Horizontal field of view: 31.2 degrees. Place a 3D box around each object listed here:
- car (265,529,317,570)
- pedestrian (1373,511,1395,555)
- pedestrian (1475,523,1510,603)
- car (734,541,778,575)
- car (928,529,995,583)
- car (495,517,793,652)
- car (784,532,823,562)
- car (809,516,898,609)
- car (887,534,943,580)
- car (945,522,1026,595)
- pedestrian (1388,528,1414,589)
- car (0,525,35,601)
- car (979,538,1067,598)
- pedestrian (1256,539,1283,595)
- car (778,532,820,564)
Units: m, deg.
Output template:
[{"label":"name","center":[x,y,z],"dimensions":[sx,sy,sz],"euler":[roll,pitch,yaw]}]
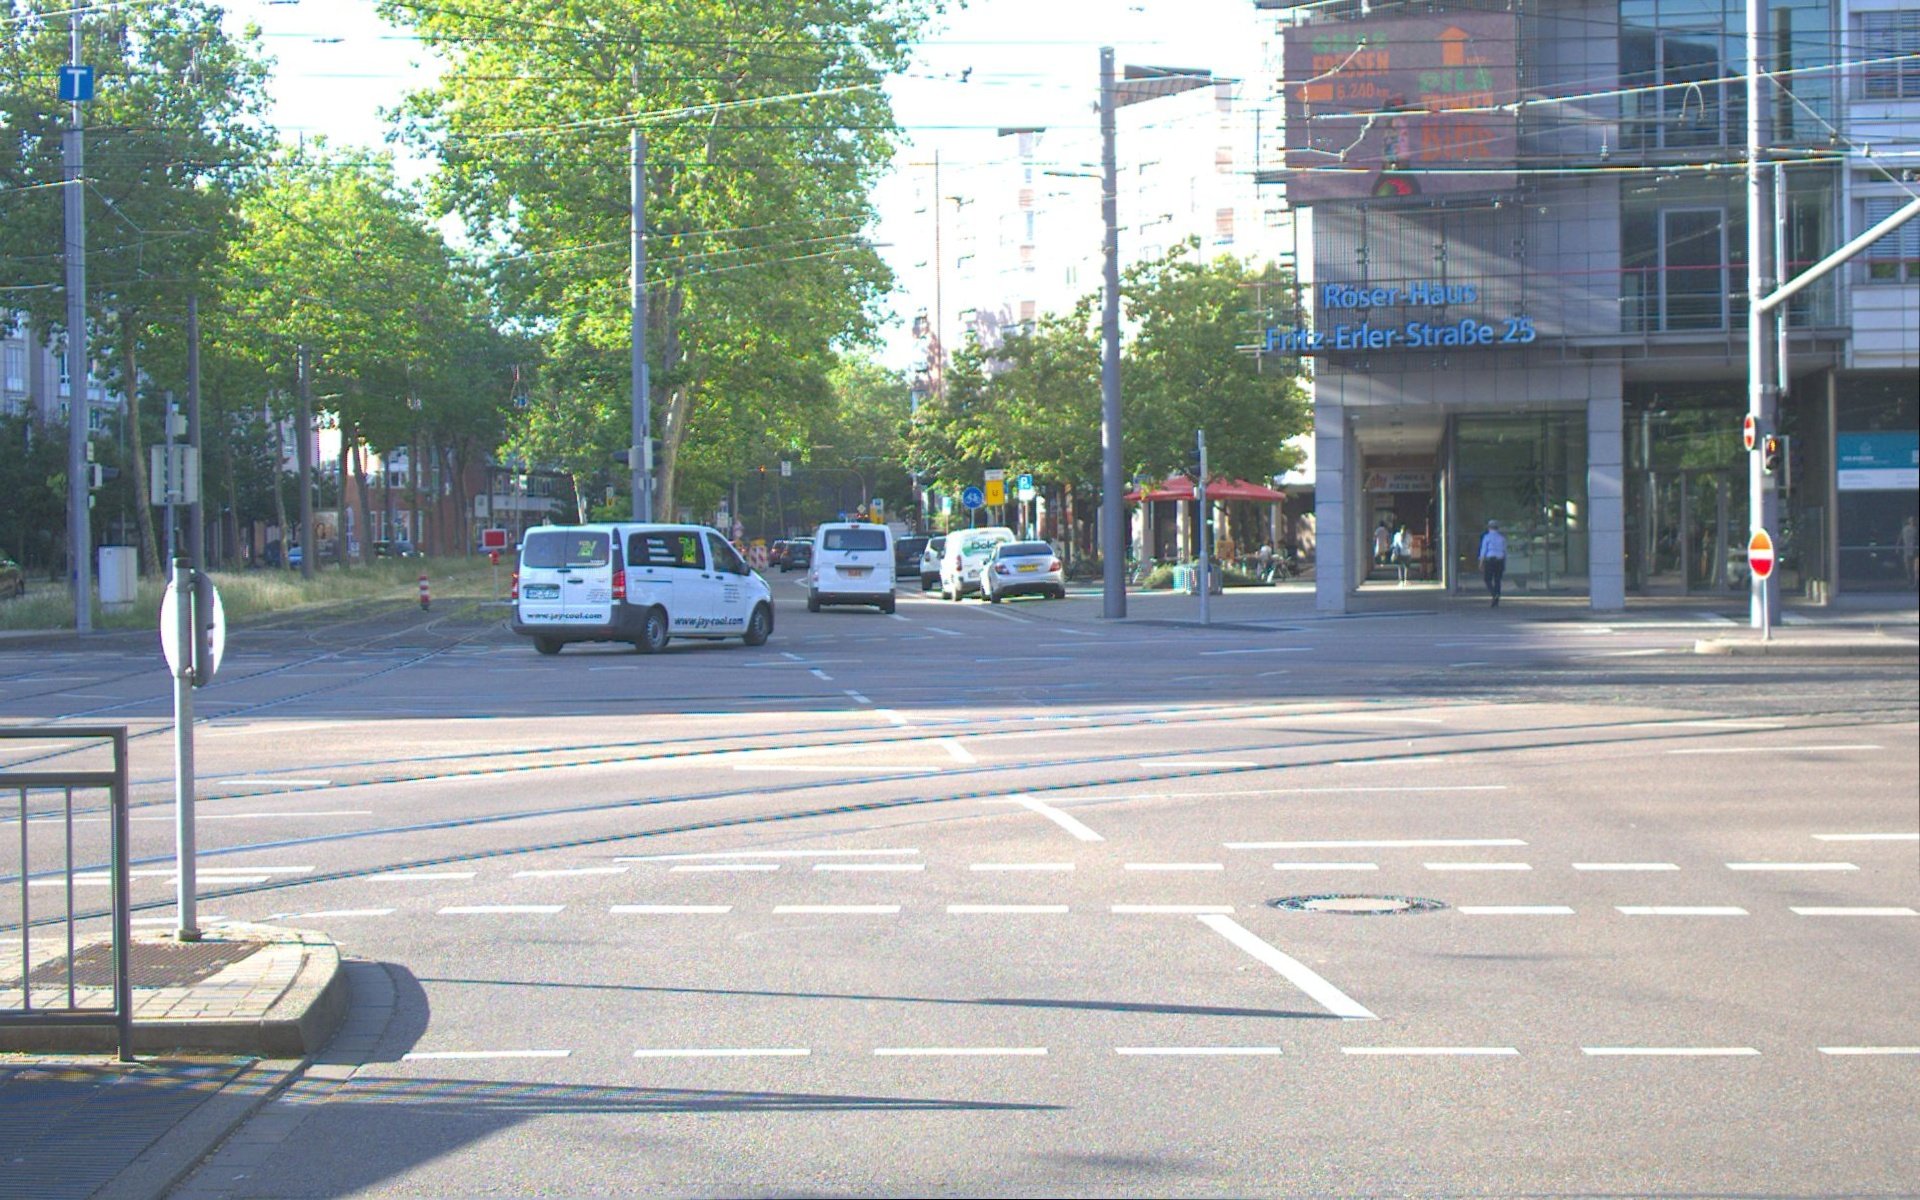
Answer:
[{"label":"car","center":[-33.370,-2.534,171.517],"dimensions":[1.993,2.007,4.001],"euler":[-1,1,-3]},{"label":"pedestrian","center":[16.452,-2.606,133.332],"dimensions":[0.744,1.708,0.612],"euler":[-1,1,-1]},{"label":"pedestrian","center":[10.084,-0.711,65.114],"dimensions":[0.612,1.502,0.579],"euler":[-1,1,6]},{"label":"car","center":[-8.723,-1.793,147.204],"dimensions":[1.797,1.437,4.000],"euler":[1,1,-2]},{"label":"car","center":[0.033,-1.360,105.213],"dimensions":[1.993,1.612,4.000],"euler":[-1,1,0]},{"label":"car","center":[-4.511,-0.269,50.073],"dimensions":[1.963,1.842,5.324],"euler":[0,1,24]},{"label":"car","center":[-7.773,-2.659,171.414],"dimensions":[1.797,1.437,4.000],"euler":[-1,1,-1]},{"label":"car","center":[-2.198,-0.797,71.517],"dimensions":[1.755,1.860,4.526],"euler":[-1,1,-1]},{"label":"car","center":[-1.645,-1.600,126.664],"dimensions":[1.993,1.612,4.000],"euler":[-1,1,0]},{"label":"car","center":[0.646,-1.096,89.568],"dimensions":[1.993,1.853,4.000],"euler":[-1,1,-1]},{"label":"pedestrian","center":[10.923,-1.034,85.219],"dimensions":[0.612,1.502,0.579],"euler":[-1,1,7]},{"label":"car","center":[-21.668,-0.798,74.921],"dimensions":[1.993,1.634,4.000],"euler":[-1,1,-1]},{"label":"car","center":[1.490,-0.786,82.773],"dimensions":[1.993,1.371,4.000],"euler":[-1,1,-1]},{"label":"pedestrian","center":[9.457,-1.011,105.018],"dimensions":[0.744,1.708,0.612],"euler":[-1,1,-1]},{"label":"car","center":[-7.514,-2.430,160.603],"dimensions":[1.797,1.437,4.000],"euler":[-1,1,-1]}]
